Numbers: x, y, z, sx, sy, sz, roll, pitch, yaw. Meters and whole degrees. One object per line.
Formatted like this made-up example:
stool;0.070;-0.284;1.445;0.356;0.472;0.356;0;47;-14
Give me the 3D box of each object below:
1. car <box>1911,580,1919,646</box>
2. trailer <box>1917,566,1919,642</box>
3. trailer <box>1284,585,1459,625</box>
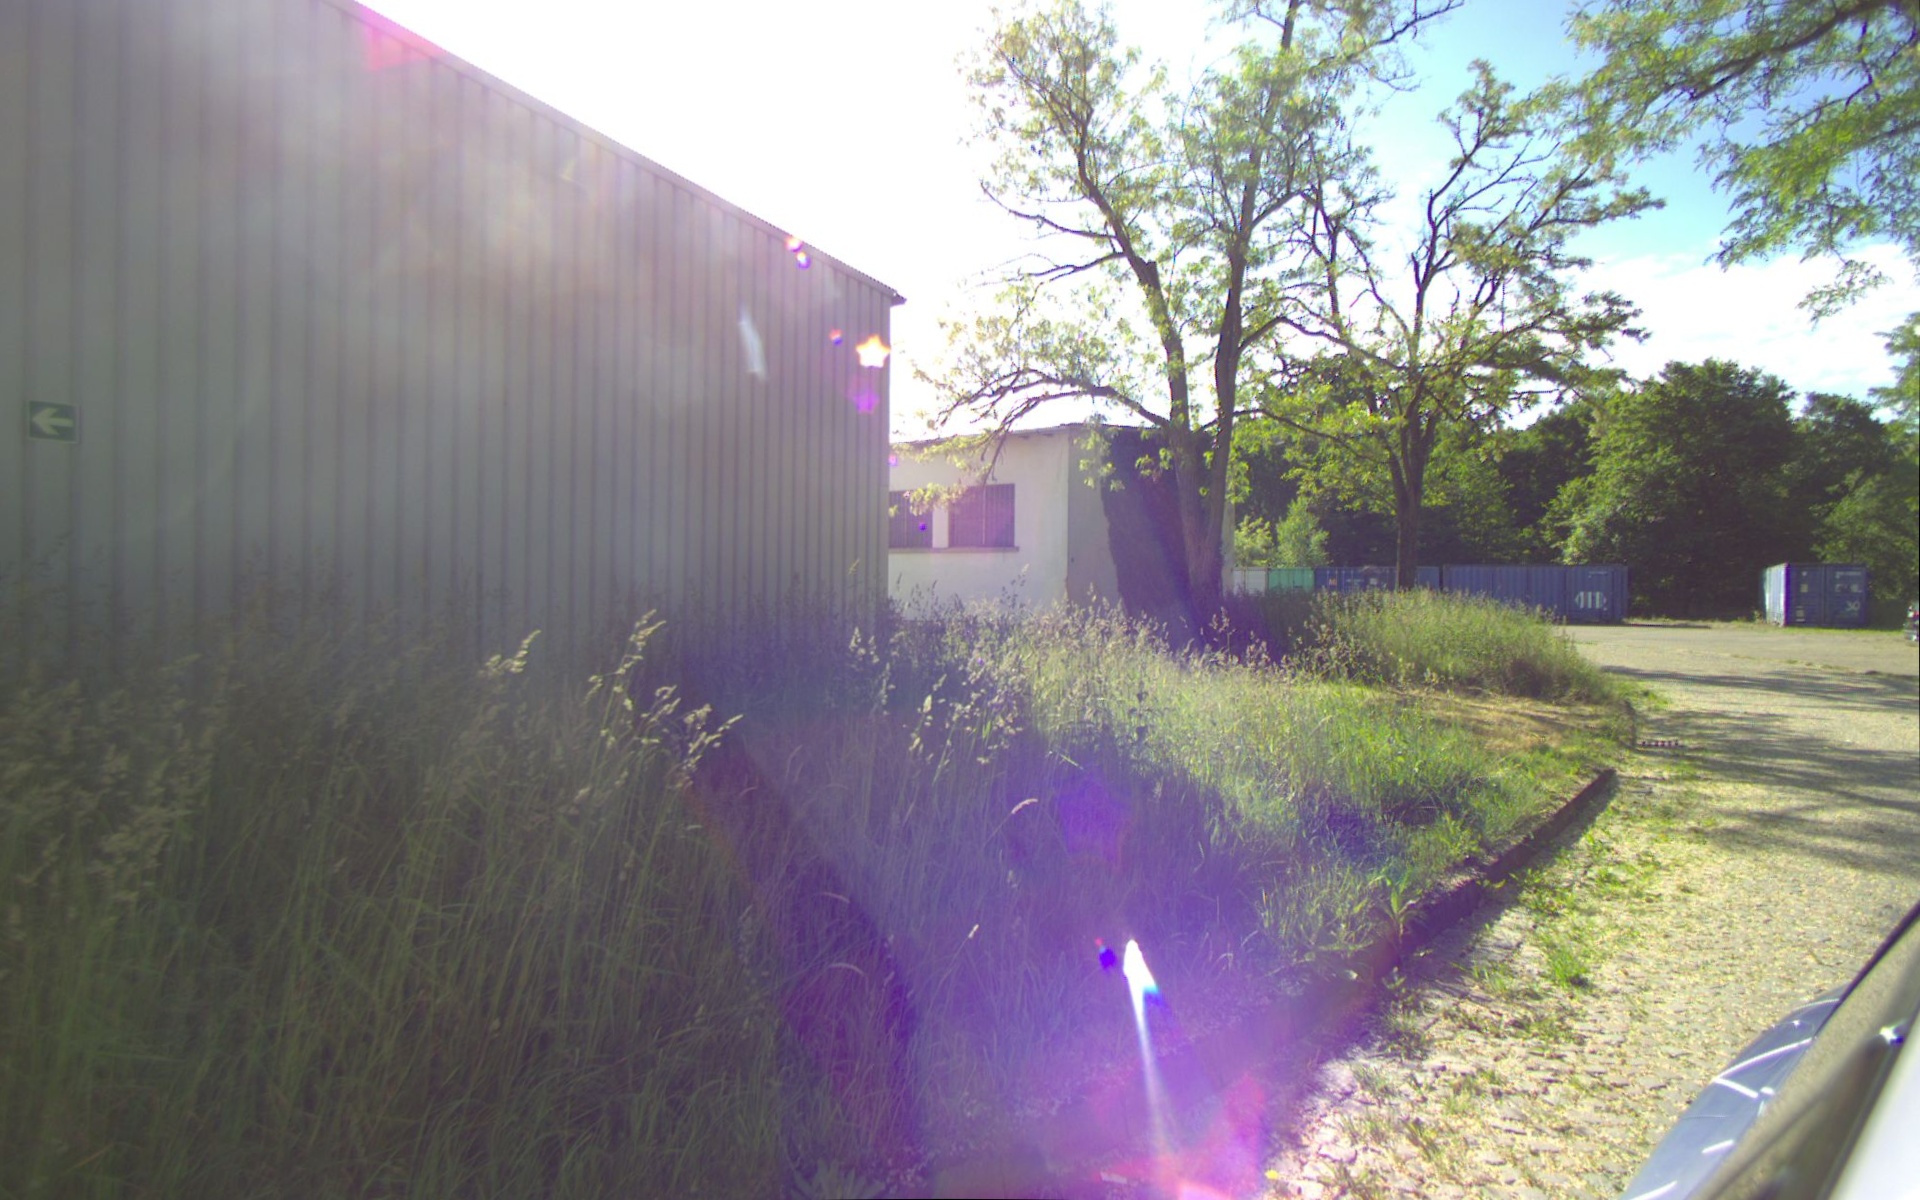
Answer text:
car;25.864;0.341;24.609;3.801;1.662;1.842;1;0;39
trailer;28.000;0.091;26.588;3.949;2.120;1.617;-1;0;37
trailer;17.521;0.151;43.246;6.453;1.536;2.819;0;2;36
